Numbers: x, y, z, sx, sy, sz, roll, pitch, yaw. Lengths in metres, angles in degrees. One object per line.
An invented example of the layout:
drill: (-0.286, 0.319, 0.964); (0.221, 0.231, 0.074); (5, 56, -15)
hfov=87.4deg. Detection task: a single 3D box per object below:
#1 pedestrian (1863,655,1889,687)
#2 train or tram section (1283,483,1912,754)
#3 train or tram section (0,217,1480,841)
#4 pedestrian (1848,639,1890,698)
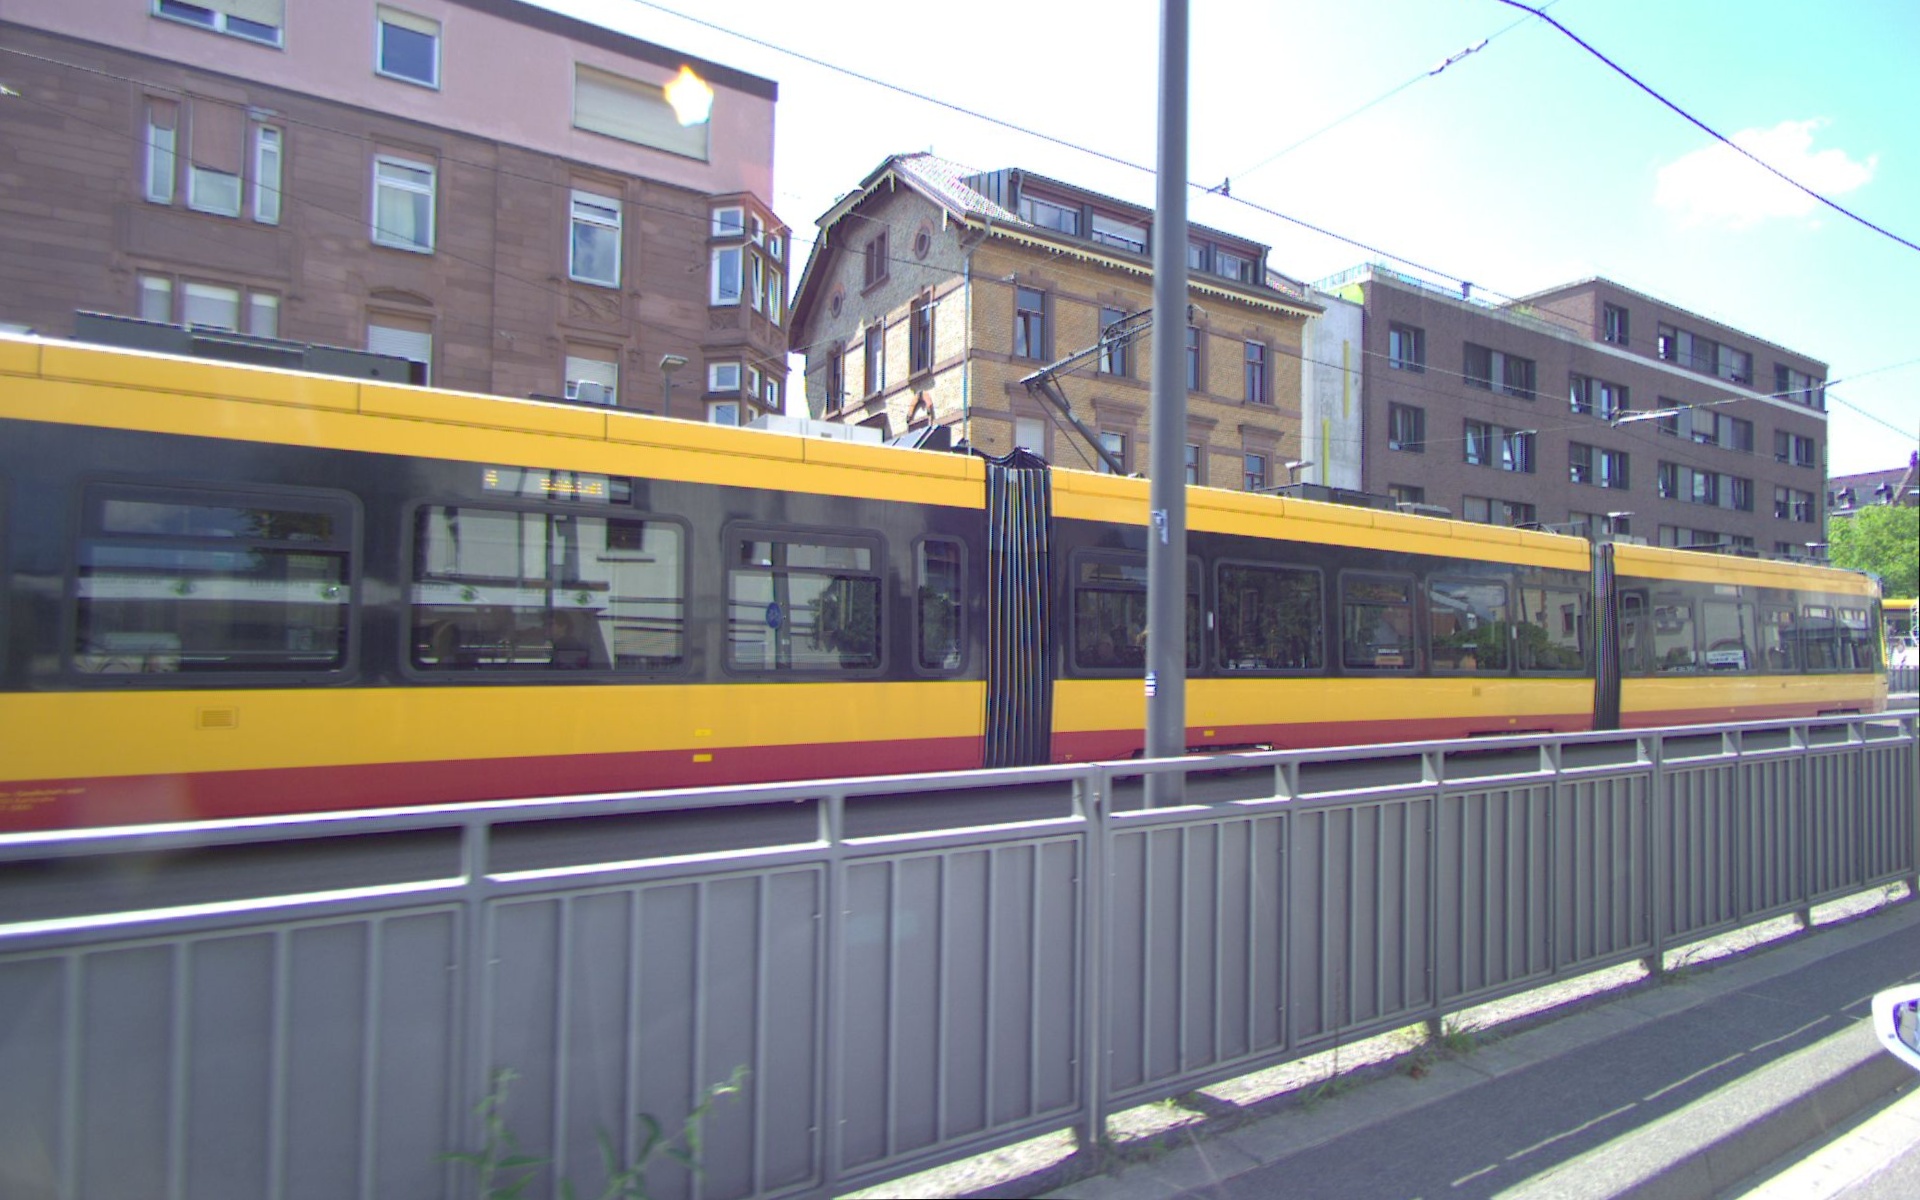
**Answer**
pedestrian: (47.628, 3.695, 52.242); (0.990, 1.617, 0.755); (3, 1, -36)
train or tram section: (12.911, 0.646, 18.970); (16.164, 3.613, 3.219); (3, -3, -31)
train or tram section: (-2.515, -0.169, 9.561); (20.269, 3.613, 3.234); (3, -3, -31)
pedestrian: (28.122, 2.101, 31.077); (1.022, 1.783, 0.682); (2, -3, -32)
